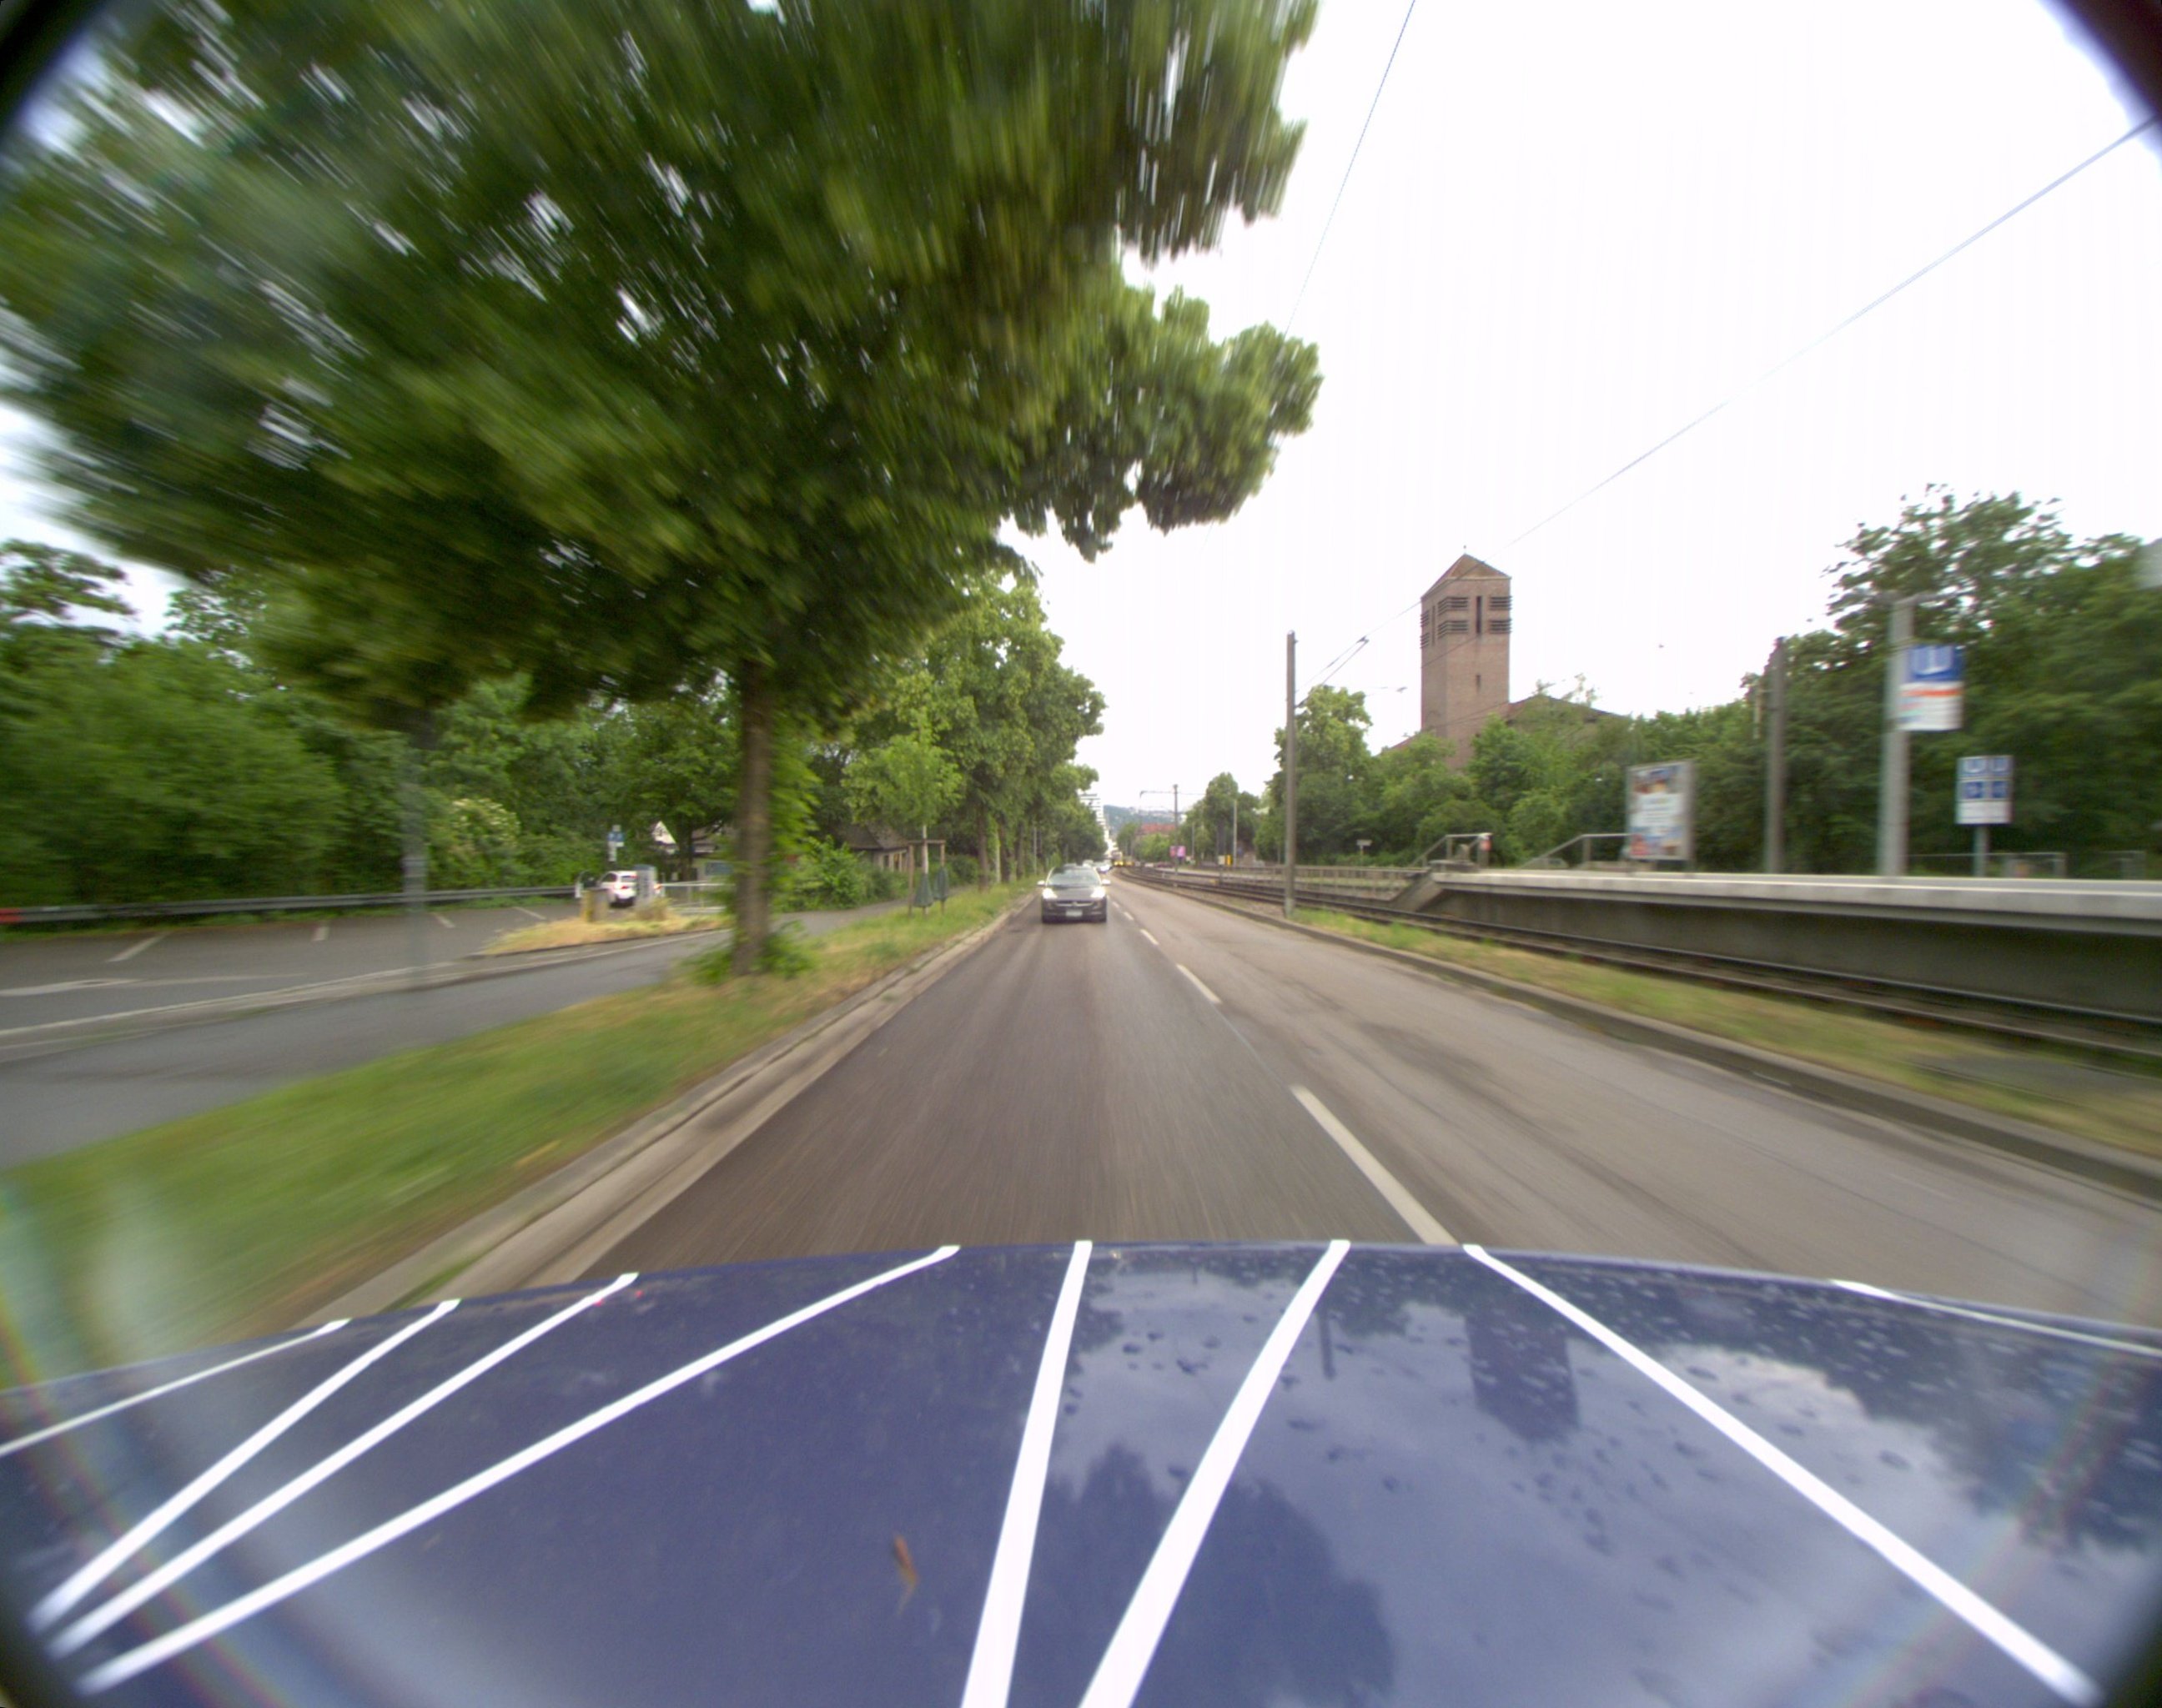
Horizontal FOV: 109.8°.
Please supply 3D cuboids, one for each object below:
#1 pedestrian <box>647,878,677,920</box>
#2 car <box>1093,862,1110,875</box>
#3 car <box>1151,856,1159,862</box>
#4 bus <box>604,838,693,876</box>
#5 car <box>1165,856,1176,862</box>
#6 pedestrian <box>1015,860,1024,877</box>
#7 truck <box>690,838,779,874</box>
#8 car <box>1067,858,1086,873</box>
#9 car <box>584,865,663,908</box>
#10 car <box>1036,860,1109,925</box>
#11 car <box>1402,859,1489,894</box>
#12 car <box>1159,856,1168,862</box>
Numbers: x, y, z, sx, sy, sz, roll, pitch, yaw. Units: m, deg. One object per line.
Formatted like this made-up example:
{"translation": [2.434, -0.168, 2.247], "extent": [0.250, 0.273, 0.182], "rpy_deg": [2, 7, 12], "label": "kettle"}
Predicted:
{"translation": [-18.051, 1.922, 32.729], "extent": [0.899, 1.760, 0.941], "rpy_deg": [1, 1, -42], "label": "pedestrian"}
{"translation": [2.539, 1.698, 91.725], "extent": [1.768, 1.502, 4.343], "rpy_deg": [-1, 0, 5], "label": "car"}
{"translation": [21.105, 1.525, 216.702], "extent": [1.998, 1.634, 4.412], "rpy_deg": [1, 0, 1], "label": "car"}
{"translation": [-32.536, 0.228, 57.458], "extent": [2.257, 2.685, 7.170], "rpy_deg": [0, 0, 4], "label": "bus"}
{"translation": [20.575, 1.099, 175.415], "extent": [1.970, 1.432, 4.321], "rpy_deg": [1, 0, 0], "label": "car"}
{"translation": [-6.531, 1.525, 80.199], "extent": [0.857, 1.843, 0.737], "rpy_deg": [0, 0, 3], "label": "pedestrian"}
{"translation": [-28.453, 0.181, 62.727], "extent": [2.054, 2.850, 6.619], "rpy_deg": [0, 0, 32], "label": "truck"}
{"translation": [-0.442, 1.122, 75.082], "extent": [1.769, 1.502, 4.340], "rpy_deg": [0, 0, -1], "label": "car"}
{"translation": [-19.026, 1.276, 31.503], "extent": [2.004, 1.570, 4.637], "rpy_deg": [-1, 0, -41], "label": "car"}
{"translation": [-0.193, 0.978, 21.021], "extent": [1.746, 1.544, 4.494], "rpy_deg": [-2, -1, 0], "label": "car"}
{"translation": [18.211, 1.091, 38.262], "extent": [1.999, 1.614, 4.516], "rpy_deg": [-1, 0, -4], "label": "car"}
{"translation": [21.780, 1.351, 201.596], "extent": [1.998, 1.634, 4.525], "rpy_deg": [1, 0, 1], "label": "car"}
